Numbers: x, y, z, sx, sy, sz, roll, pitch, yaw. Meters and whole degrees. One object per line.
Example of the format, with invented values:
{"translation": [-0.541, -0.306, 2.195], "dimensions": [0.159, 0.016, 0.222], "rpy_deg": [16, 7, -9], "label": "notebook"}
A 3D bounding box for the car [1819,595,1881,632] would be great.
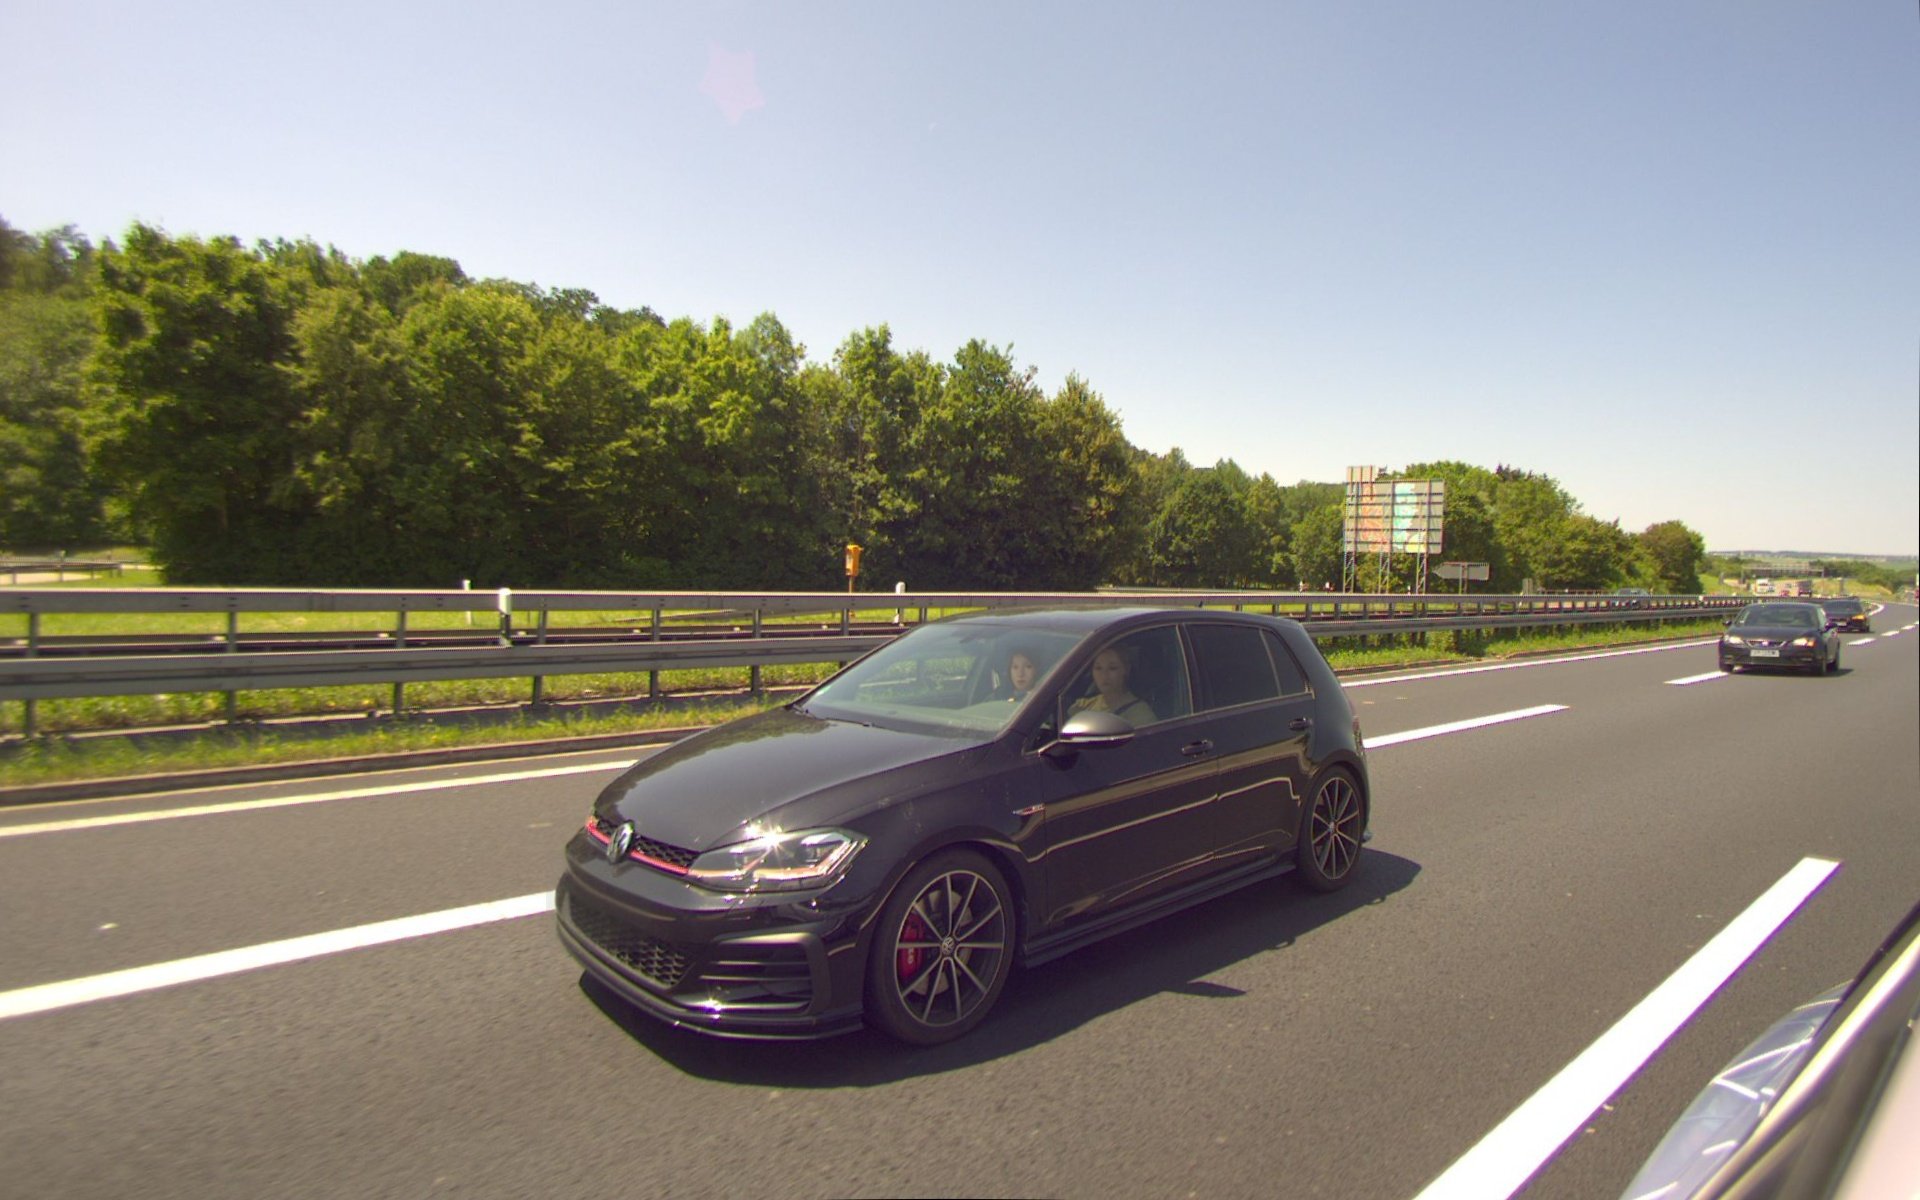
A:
{"translation": [39.615, 0.560, 45.032], "dimensions": [1.887, 1.491, 3.805], "rpy_deg": [1, 2, 44], "label": "car"}

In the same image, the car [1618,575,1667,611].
{"translation": [41.166, -0.417, 60.997], "dimensions": [1.991, 2.038, 3.942], "rpy_deg": [2, 2, 40], "label": "car"}

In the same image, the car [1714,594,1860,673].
{"translation": [17.053, 0.617, 20.817], "dimensions": [3.697, 1.417, 1.779], "rpy_deg": [-1, 1, -42], "label": "car"}

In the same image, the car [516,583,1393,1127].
{"translation": [0.248, 0.654, 4.706], "dimensions": [3.898, 1.453, 1.797], "rpy_deg": [-1, 1, -42], "label": "car"}
